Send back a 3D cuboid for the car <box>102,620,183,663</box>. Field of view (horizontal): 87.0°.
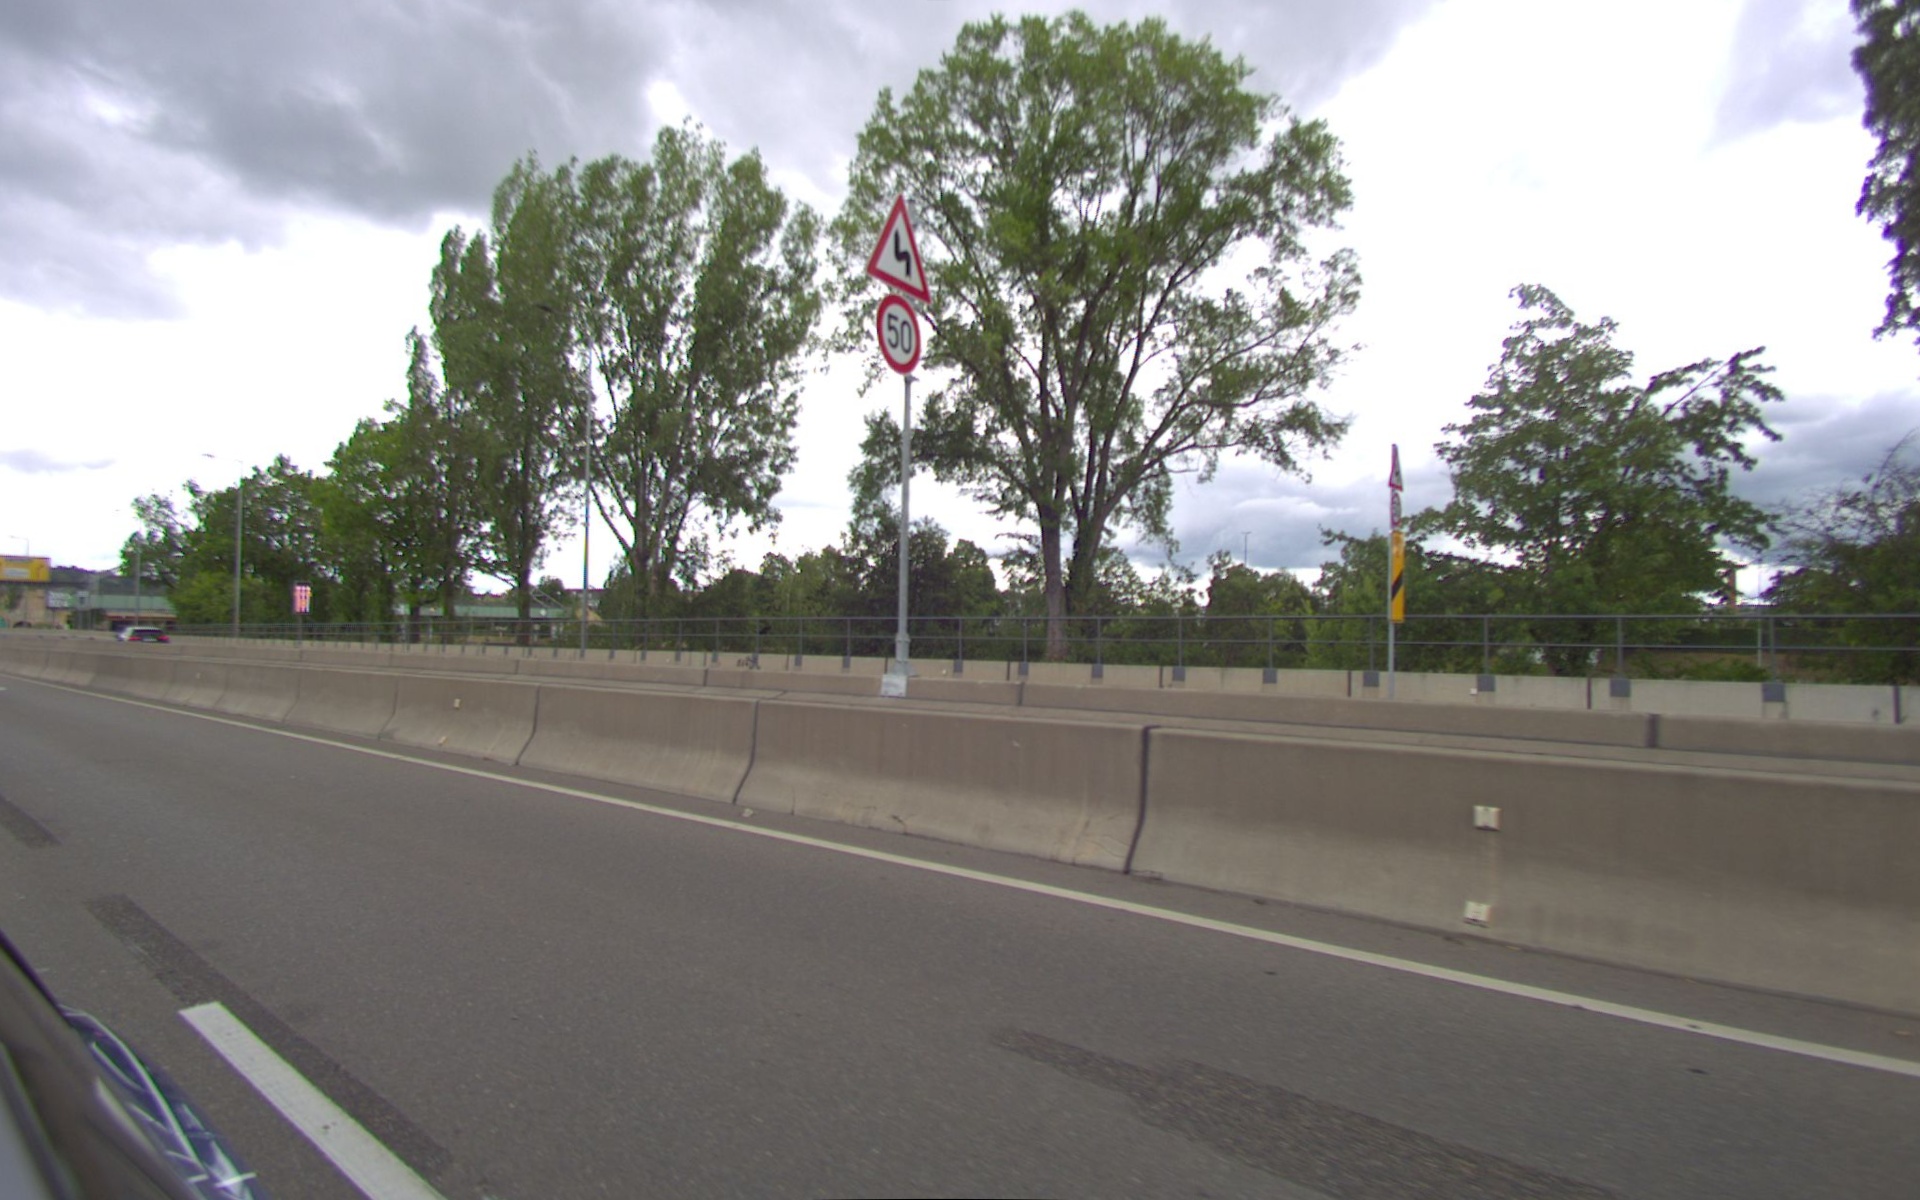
[{"bbox_3d":[-40.394,1.988,49.969,5.000,1.940,2.305,-1,0,41],"label":"car"}]
